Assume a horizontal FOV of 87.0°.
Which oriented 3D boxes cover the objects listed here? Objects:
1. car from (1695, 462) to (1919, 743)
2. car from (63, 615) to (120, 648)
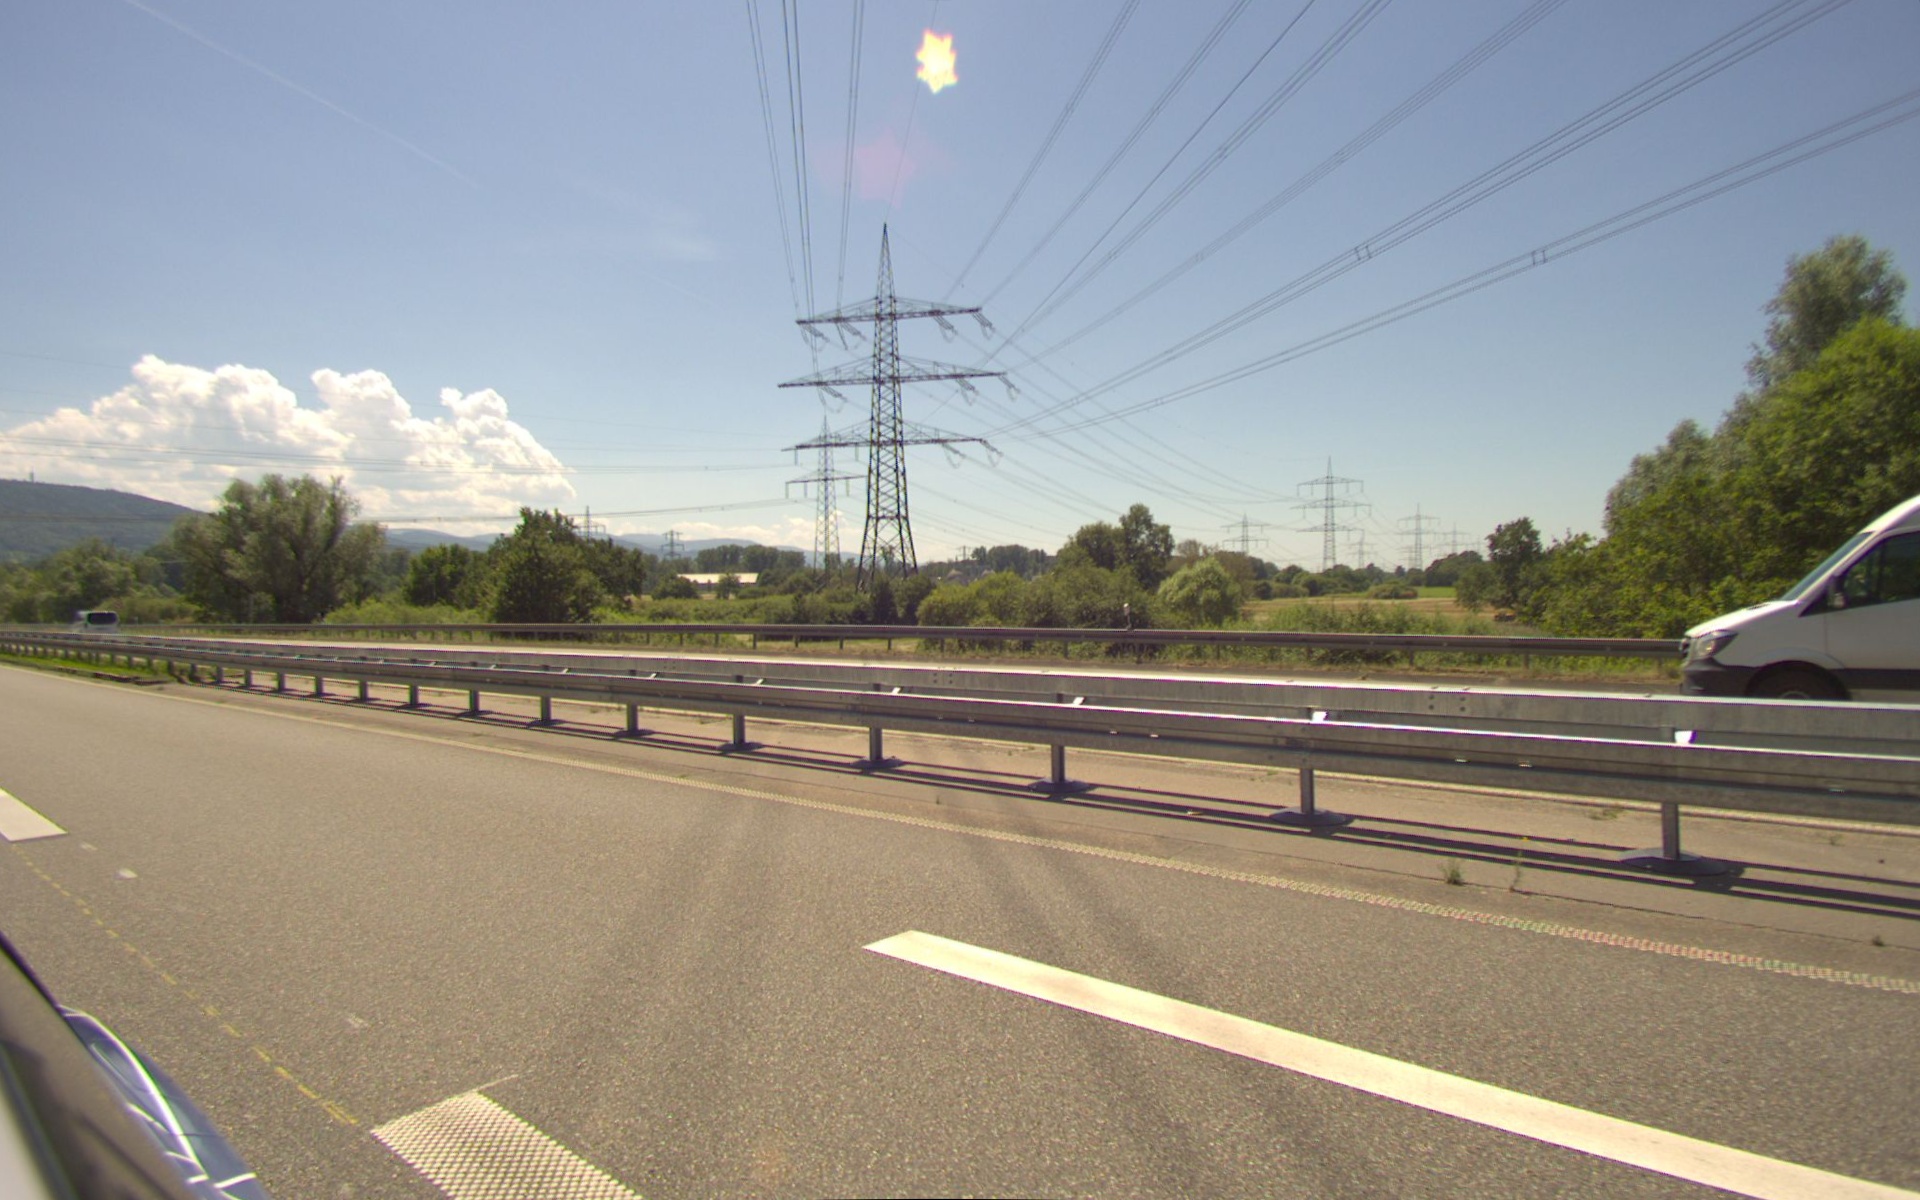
[{"bbox_3d":[11.242,0.017,9.203,7.181,2.638,2.498,-1,-2,41],"label":"car"},{"bbox_3d":[-56.225,2.034,65.462,5.527,2.007,1.872,-1,-1,39],"label":"car"}]
